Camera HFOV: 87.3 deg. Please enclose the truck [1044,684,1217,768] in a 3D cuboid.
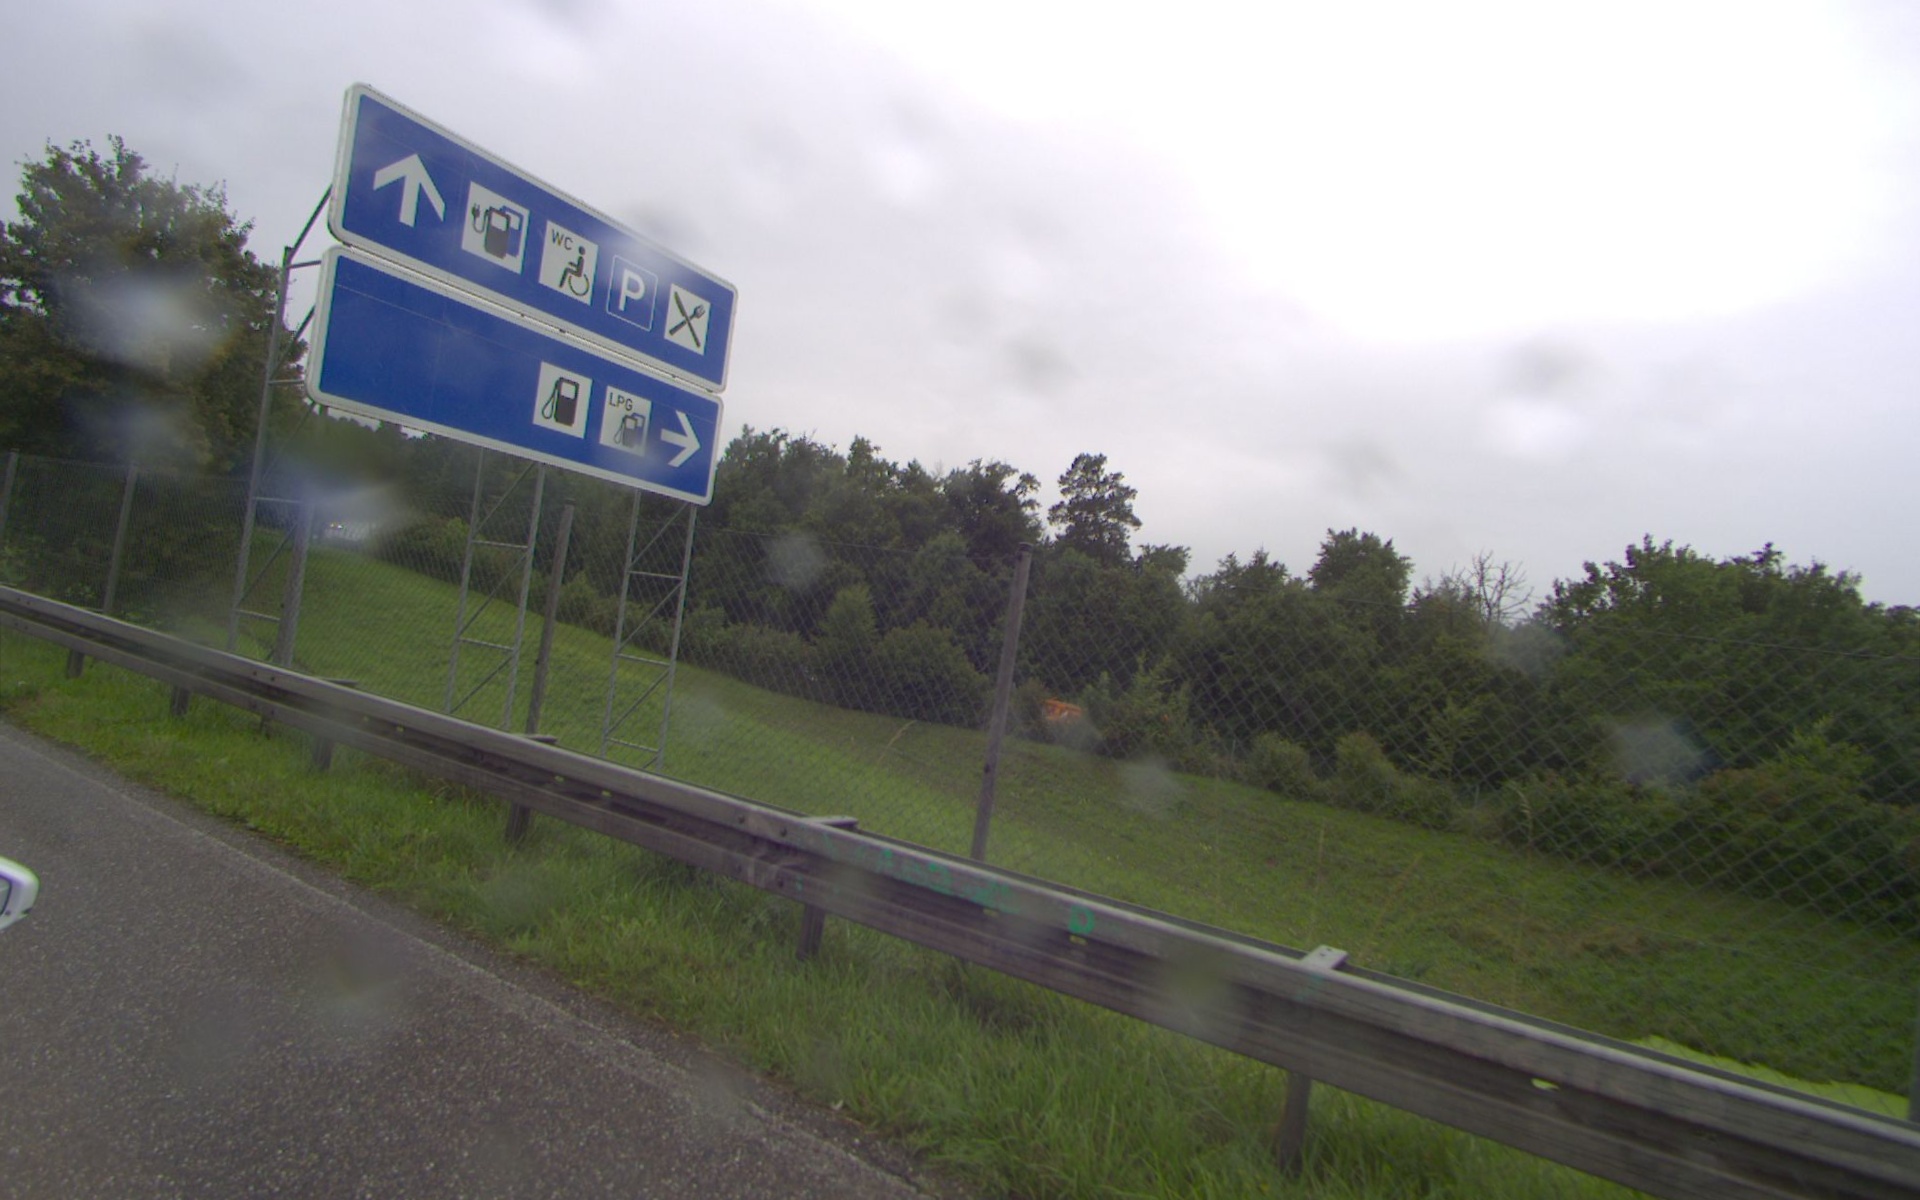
[{"bbox_3d":[8.824,6.526,52.470,8.128,2.685,2.838,8,-6,33],"label":"truck"}]
